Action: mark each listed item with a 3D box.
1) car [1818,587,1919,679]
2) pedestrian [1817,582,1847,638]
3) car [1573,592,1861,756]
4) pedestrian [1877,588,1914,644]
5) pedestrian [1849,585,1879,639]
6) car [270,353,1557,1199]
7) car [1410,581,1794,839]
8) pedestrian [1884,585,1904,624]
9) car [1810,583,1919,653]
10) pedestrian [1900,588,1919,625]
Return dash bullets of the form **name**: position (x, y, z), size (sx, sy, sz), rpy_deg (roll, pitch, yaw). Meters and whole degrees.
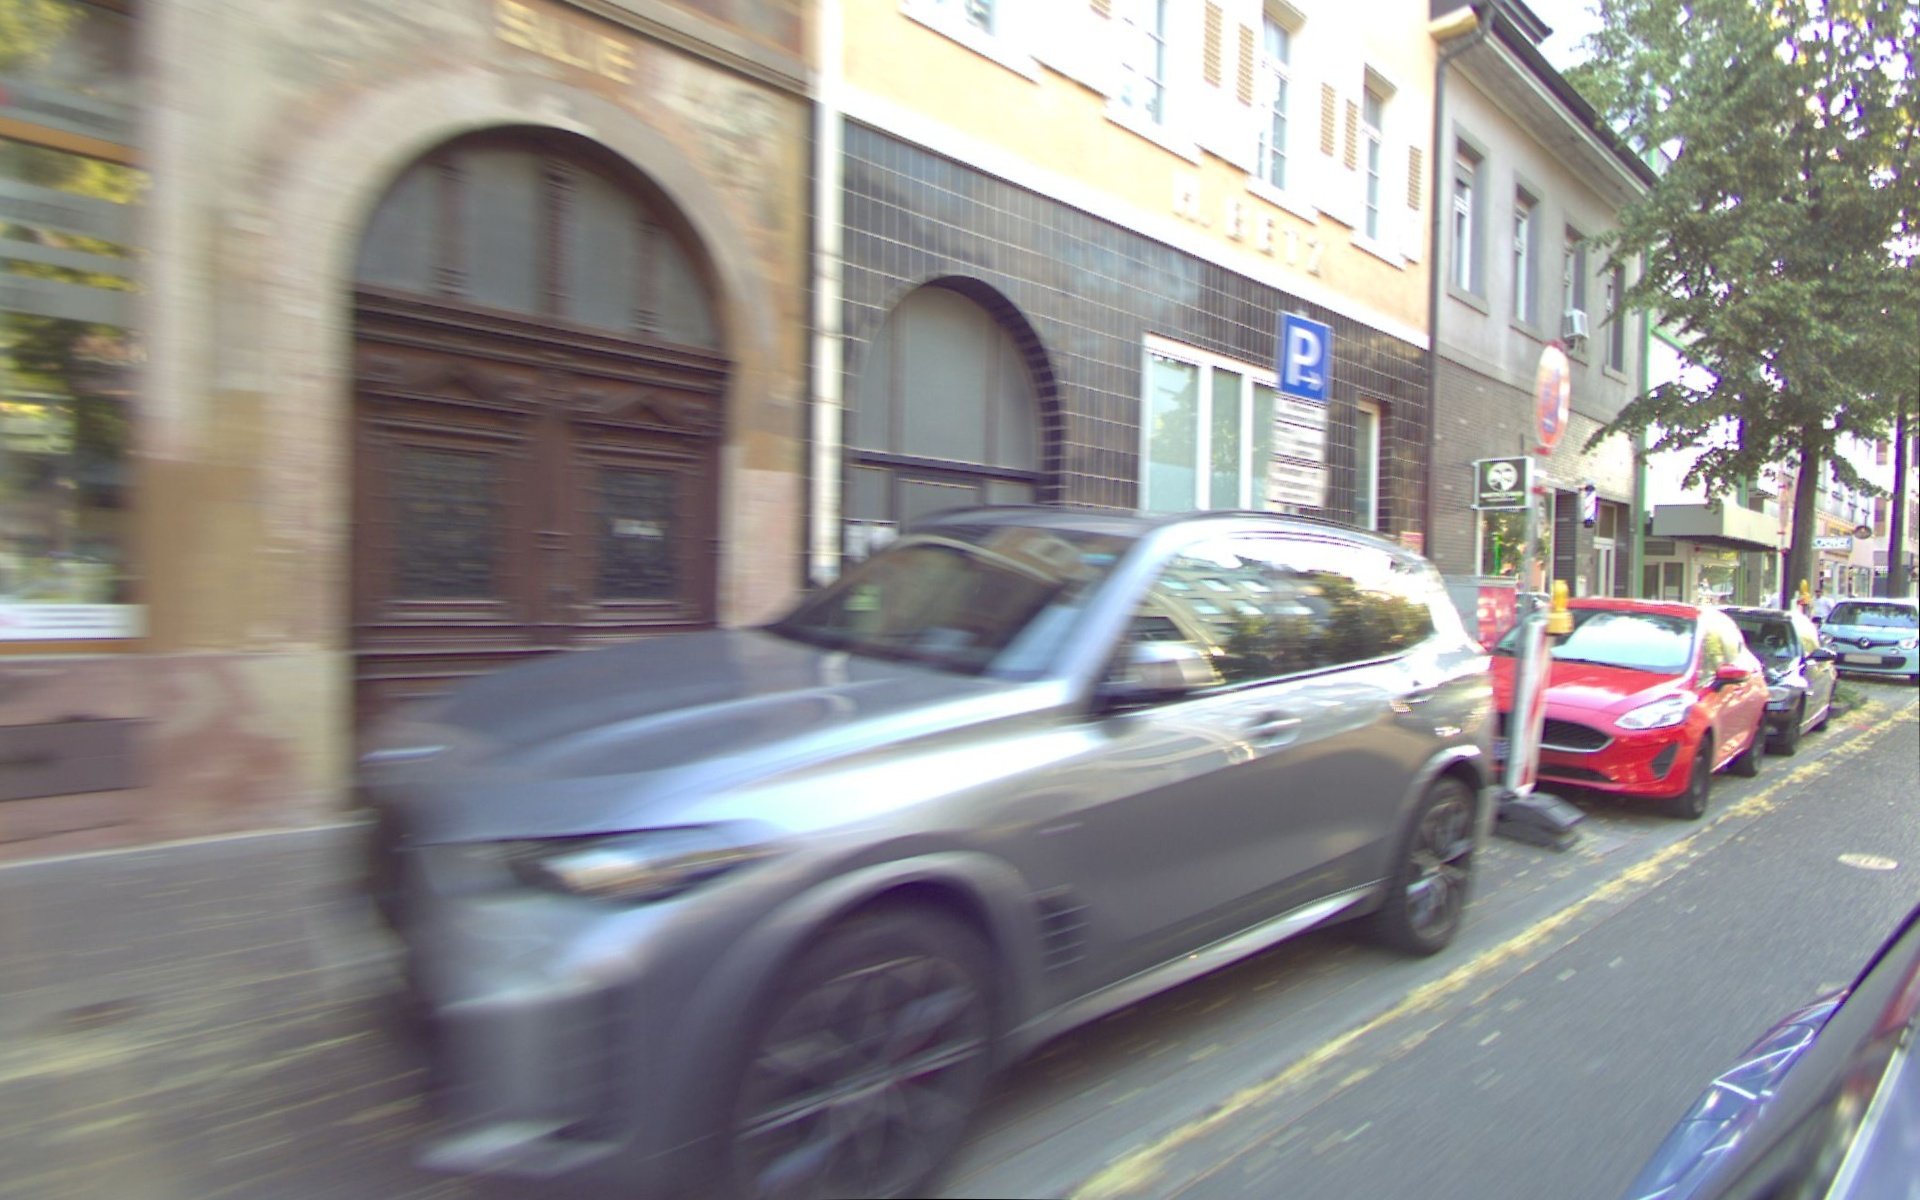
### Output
- **car**: position (18.059, 0.598, 19.606), size (3.492, 1.561, 1.694), rpy_deg (0, 3, -42)
- **pedestrian**: position (27.604, 0.313, 32.042), size (0.657, 1.760, 0.607), rpy_deg (1, 1, -42)
- **car**: position (8.829, 0.683, 11.648), size (4.352, 1.407, 1.954), rpy_deg (0, 4, -44)
- **pedestrian**: position (28.496, 0.476, 30.830), size (0.841, 1.652, 0.747), rpy_deg (0, 1, -42)
- **pedestrian**: position (28.219, 0.356, 31.587), size (0.657, 1.652, 0.607), rpy_deg (1, 1, -42)
- **car**: position (0.273, 0.437, 3.887), size (4.628, 1.758, 2.043), rpy_deg (0, 3, -41)
- **car**: position (5.339, 0.666, 8.210), size (3.836, 1.506, 1.731), rpy_deg (0, 4, -44)
- **pedestrian**: position (40.130, 0.194, 43.466), size (0.563, 1.644, 0.493), rpy_deg (1, 2, -40)
- **car**: position (23.834, 0.490, 25.362), size (3.555, 1.603, 1.666), rpy_deg (3, 1, 0)
- **pedestrian**: position (50.200, 0.321, 53.258), size (0.740, 1.898, 0.721), rpy_deg (2, 2, -14)
